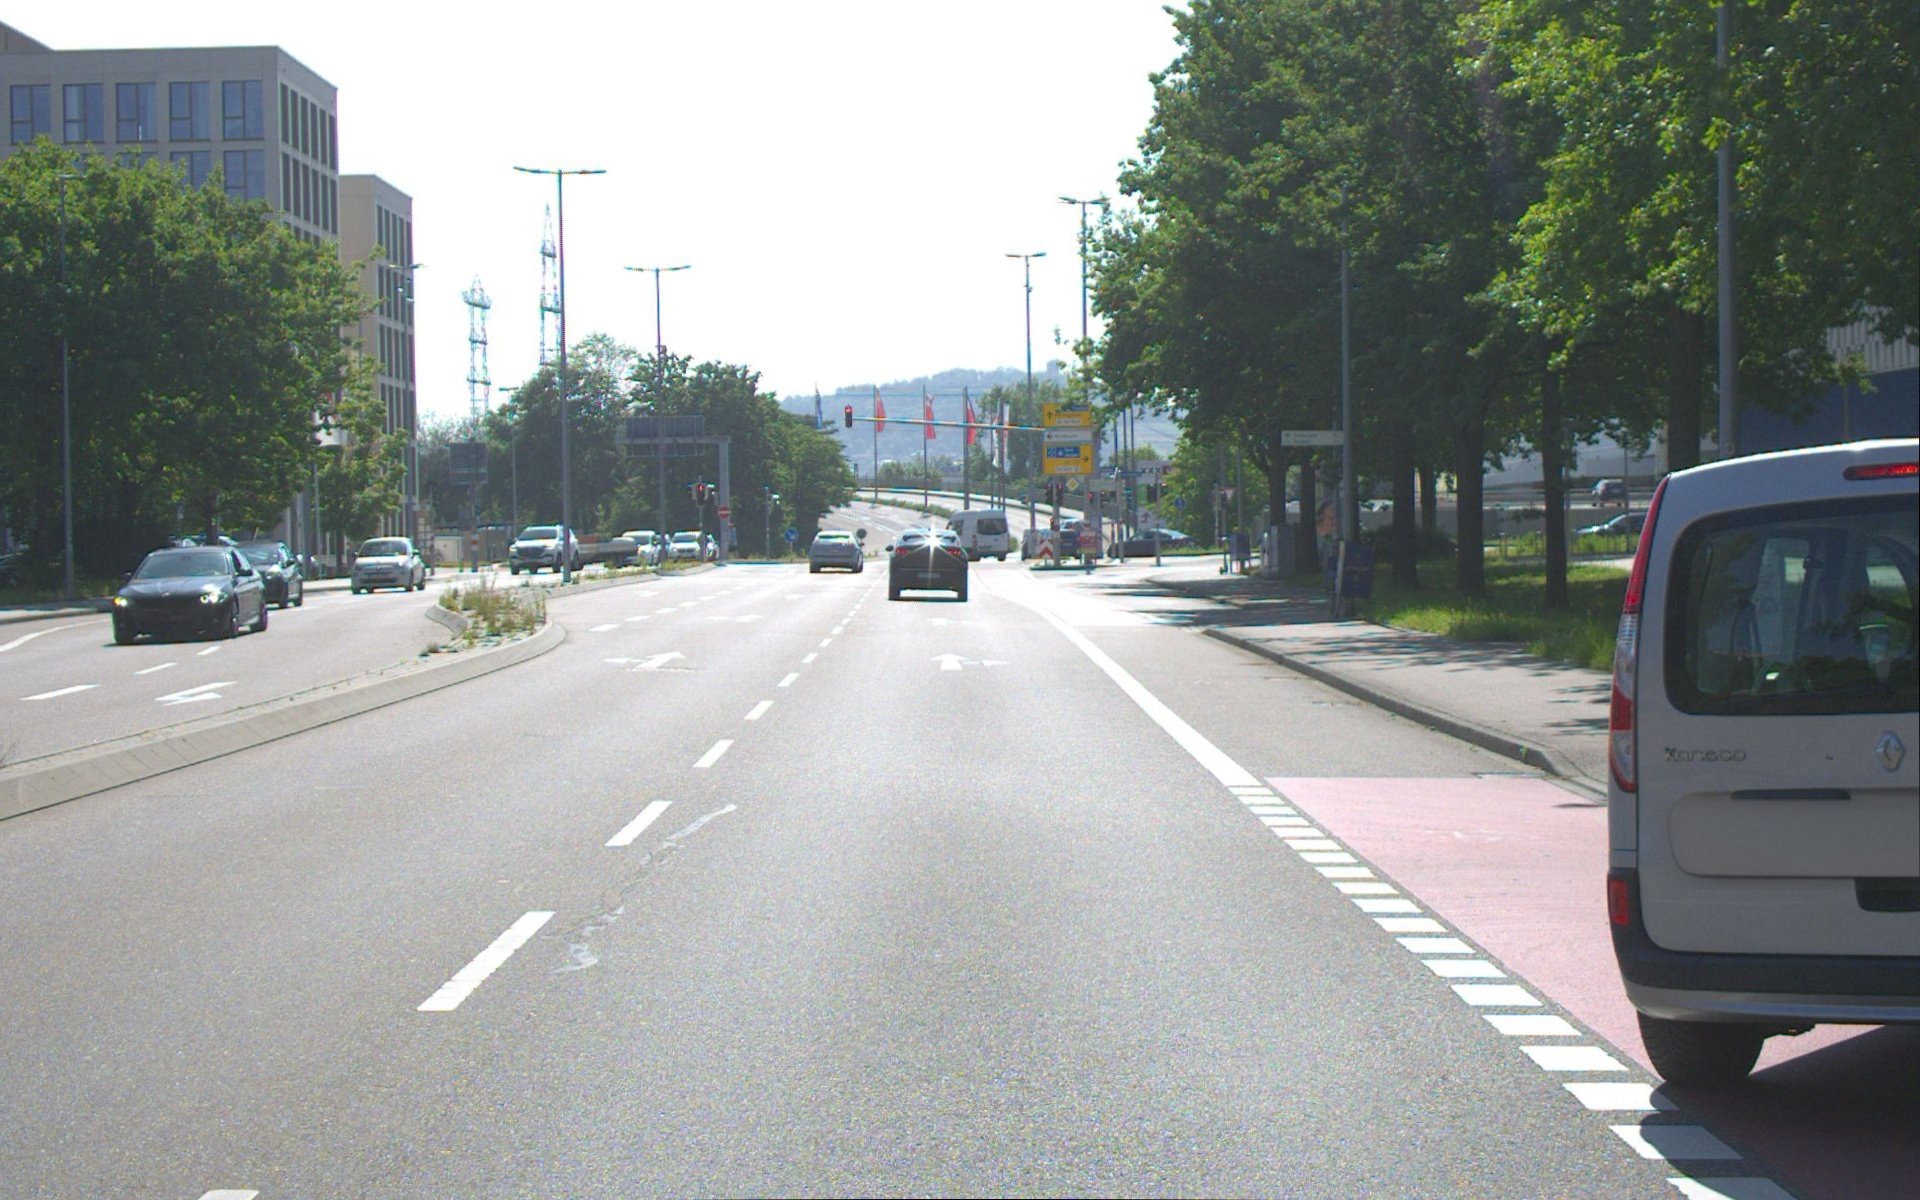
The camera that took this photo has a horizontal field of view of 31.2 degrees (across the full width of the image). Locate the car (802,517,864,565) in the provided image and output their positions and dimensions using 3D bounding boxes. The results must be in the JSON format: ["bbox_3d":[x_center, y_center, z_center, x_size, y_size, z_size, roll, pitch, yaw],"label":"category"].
[{"bbox_3d":[-4.596,-2.161,124.831,1.993,1.678,4.000,-1,1,1],"label":"car"}]

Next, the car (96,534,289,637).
[{"bbox_3d":[-12.086,-0.267,54.464,1.841,1.458,5.000,-3,1,0],"label":"car"}]

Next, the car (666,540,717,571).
[{"bbox_3d":[-13.008,-2.170,166.692,1.816,1.459,4.000,-1,1,5],"label":"car"}]

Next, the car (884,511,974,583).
[{"bbox_3d":[-0.701,-1.271,81.456,1.807,1.634,4.458,-1,1,3],"label":"car"}]

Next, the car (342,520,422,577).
[{"bbox_3d":[-15.717,-1.416,93.567,1.653,1.459,3.551,-2,1,-2],"label":"car"}]

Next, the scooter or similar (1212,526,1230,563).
[{"bbox_3d":[8.674,-1.843,114.322,0.351,1.229,1.310,-1,1,14],"label":"scooter or similar"}]

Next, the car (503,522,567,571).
[{"bbox_3d":[-16.476,-2.094,133.420,1.993,1.826,4.938,-1,1,-2],"label":"car"}]

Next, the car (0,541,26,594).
[{"bbox_3d":[-26.858,-0.820,90.493,3.987,1.371,1.924,-1,1,1],"label":"car"}]

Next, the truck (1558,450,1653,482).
[{"bbox_3d":[43.127,-8.951,229.738,5.910,2.006,2.000,1,2,3],"label":"truck"}]

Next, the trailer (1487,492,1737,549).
[{"bbox_3d":[31.878,-3.892,168.443,11.874,2.460,2.000,2,2,7],"label":"trailer"}]

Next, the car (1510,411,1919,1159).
[{"bbox_3d":[3.350,0.399,10.192,1.909,1.822,4.173,0,1,32],"label":"car"}]

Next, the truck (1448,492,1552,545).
[{"bbox_3d":[26.544,-4.016,169.041,4.882,2.415,2.000,2,2,6],"label":"truck"}]
